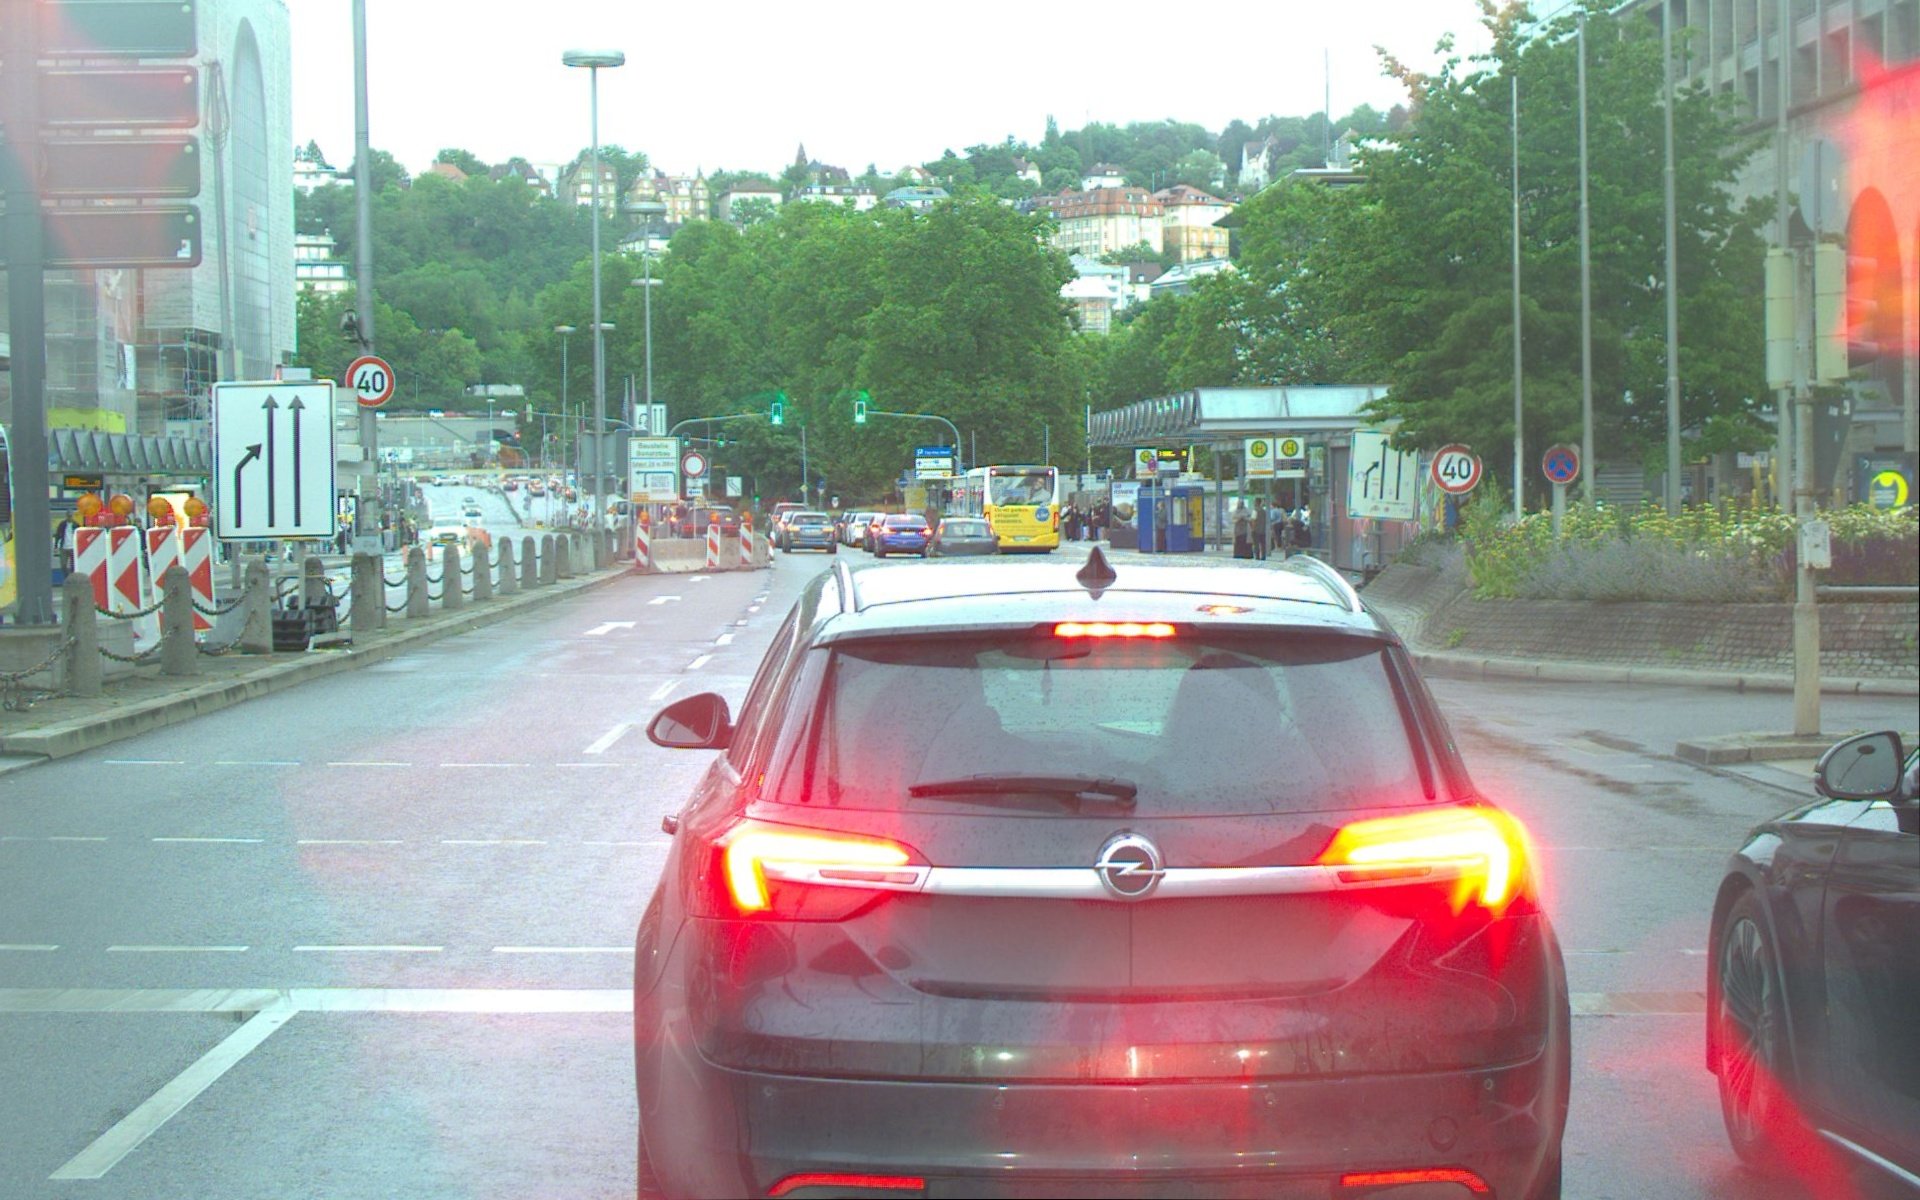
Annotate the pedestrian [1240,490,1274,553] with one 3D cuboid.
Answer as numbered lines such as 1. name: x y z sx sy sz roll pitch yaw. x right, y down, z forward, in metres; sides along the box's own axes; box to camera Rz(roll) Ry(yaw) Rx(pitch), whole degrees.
1. pedestrian: 8.129 -2.147 94.177 0.763 1.684 0.825 1 1 -5

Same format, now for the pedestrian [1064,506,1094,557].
1. pedestrian: 5.047 -2.883 145.534 1.199 2.141 1.228 1 1 1

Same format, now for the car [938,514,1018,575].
1. car: 0.405 -1.327 82.045 1.845 1.393 3.667 1 1 -1

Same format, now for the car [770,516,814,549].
1. car: -7.319 -2.920 150.034 1.759 1.393 3.564 1 1 -1

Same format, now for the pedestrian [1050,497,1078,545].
1. pedestrian: 4.714 -3.595 156.017 1.199 2.141 1.228 1 1 1

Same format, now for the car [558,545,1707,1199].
1. car: 0.244 0.638 7.649 1.874 1.481 4.000 1 1 -1

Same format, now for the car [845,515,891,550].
1. car: -3.799 -2.772 142.145 1.845 1.393 3.564 1 1 -1

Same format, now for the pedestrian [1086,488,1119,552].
1. pedestrian: 5.453 -3.055 131.762 1.199 2.427 1.228 1 1 1

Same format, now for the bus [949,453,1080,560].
1. bus: 1.772 -3.185 120.878 4.173 3.457 14.655 1 1 -1

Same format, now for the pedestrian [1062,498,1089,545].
1. pedestrian: 5.342 -3.620 158.668 1.199 2.141 1.228 1 1 1

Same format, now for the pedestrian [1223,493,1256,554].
1. pedestrian: 7.738 -2.115 95.258 0.763 1.684 0.825 1 1 -5

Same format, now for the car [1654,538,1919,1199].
1. car: 2.706 0.649 6.211 1.793 1.496 4.629 1 1 -2

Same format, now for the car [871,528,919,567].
1. car: -2.427 -1.958 127.806 1.753 1.393 4.402 1 1 -2

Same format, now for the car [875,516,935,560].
1. car: -1.826 -2.036 113.140 1.753 1.393 4.649 1 1 -3

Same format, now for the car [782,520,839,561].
1. car: -5.252 -2.092 121.137 1.845 1.393 3.564 1 1 -1

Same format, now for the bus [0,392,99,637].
1. bus: -15.449 -1.284 51.384 2.668 3.589 10.212 1 1 -1
